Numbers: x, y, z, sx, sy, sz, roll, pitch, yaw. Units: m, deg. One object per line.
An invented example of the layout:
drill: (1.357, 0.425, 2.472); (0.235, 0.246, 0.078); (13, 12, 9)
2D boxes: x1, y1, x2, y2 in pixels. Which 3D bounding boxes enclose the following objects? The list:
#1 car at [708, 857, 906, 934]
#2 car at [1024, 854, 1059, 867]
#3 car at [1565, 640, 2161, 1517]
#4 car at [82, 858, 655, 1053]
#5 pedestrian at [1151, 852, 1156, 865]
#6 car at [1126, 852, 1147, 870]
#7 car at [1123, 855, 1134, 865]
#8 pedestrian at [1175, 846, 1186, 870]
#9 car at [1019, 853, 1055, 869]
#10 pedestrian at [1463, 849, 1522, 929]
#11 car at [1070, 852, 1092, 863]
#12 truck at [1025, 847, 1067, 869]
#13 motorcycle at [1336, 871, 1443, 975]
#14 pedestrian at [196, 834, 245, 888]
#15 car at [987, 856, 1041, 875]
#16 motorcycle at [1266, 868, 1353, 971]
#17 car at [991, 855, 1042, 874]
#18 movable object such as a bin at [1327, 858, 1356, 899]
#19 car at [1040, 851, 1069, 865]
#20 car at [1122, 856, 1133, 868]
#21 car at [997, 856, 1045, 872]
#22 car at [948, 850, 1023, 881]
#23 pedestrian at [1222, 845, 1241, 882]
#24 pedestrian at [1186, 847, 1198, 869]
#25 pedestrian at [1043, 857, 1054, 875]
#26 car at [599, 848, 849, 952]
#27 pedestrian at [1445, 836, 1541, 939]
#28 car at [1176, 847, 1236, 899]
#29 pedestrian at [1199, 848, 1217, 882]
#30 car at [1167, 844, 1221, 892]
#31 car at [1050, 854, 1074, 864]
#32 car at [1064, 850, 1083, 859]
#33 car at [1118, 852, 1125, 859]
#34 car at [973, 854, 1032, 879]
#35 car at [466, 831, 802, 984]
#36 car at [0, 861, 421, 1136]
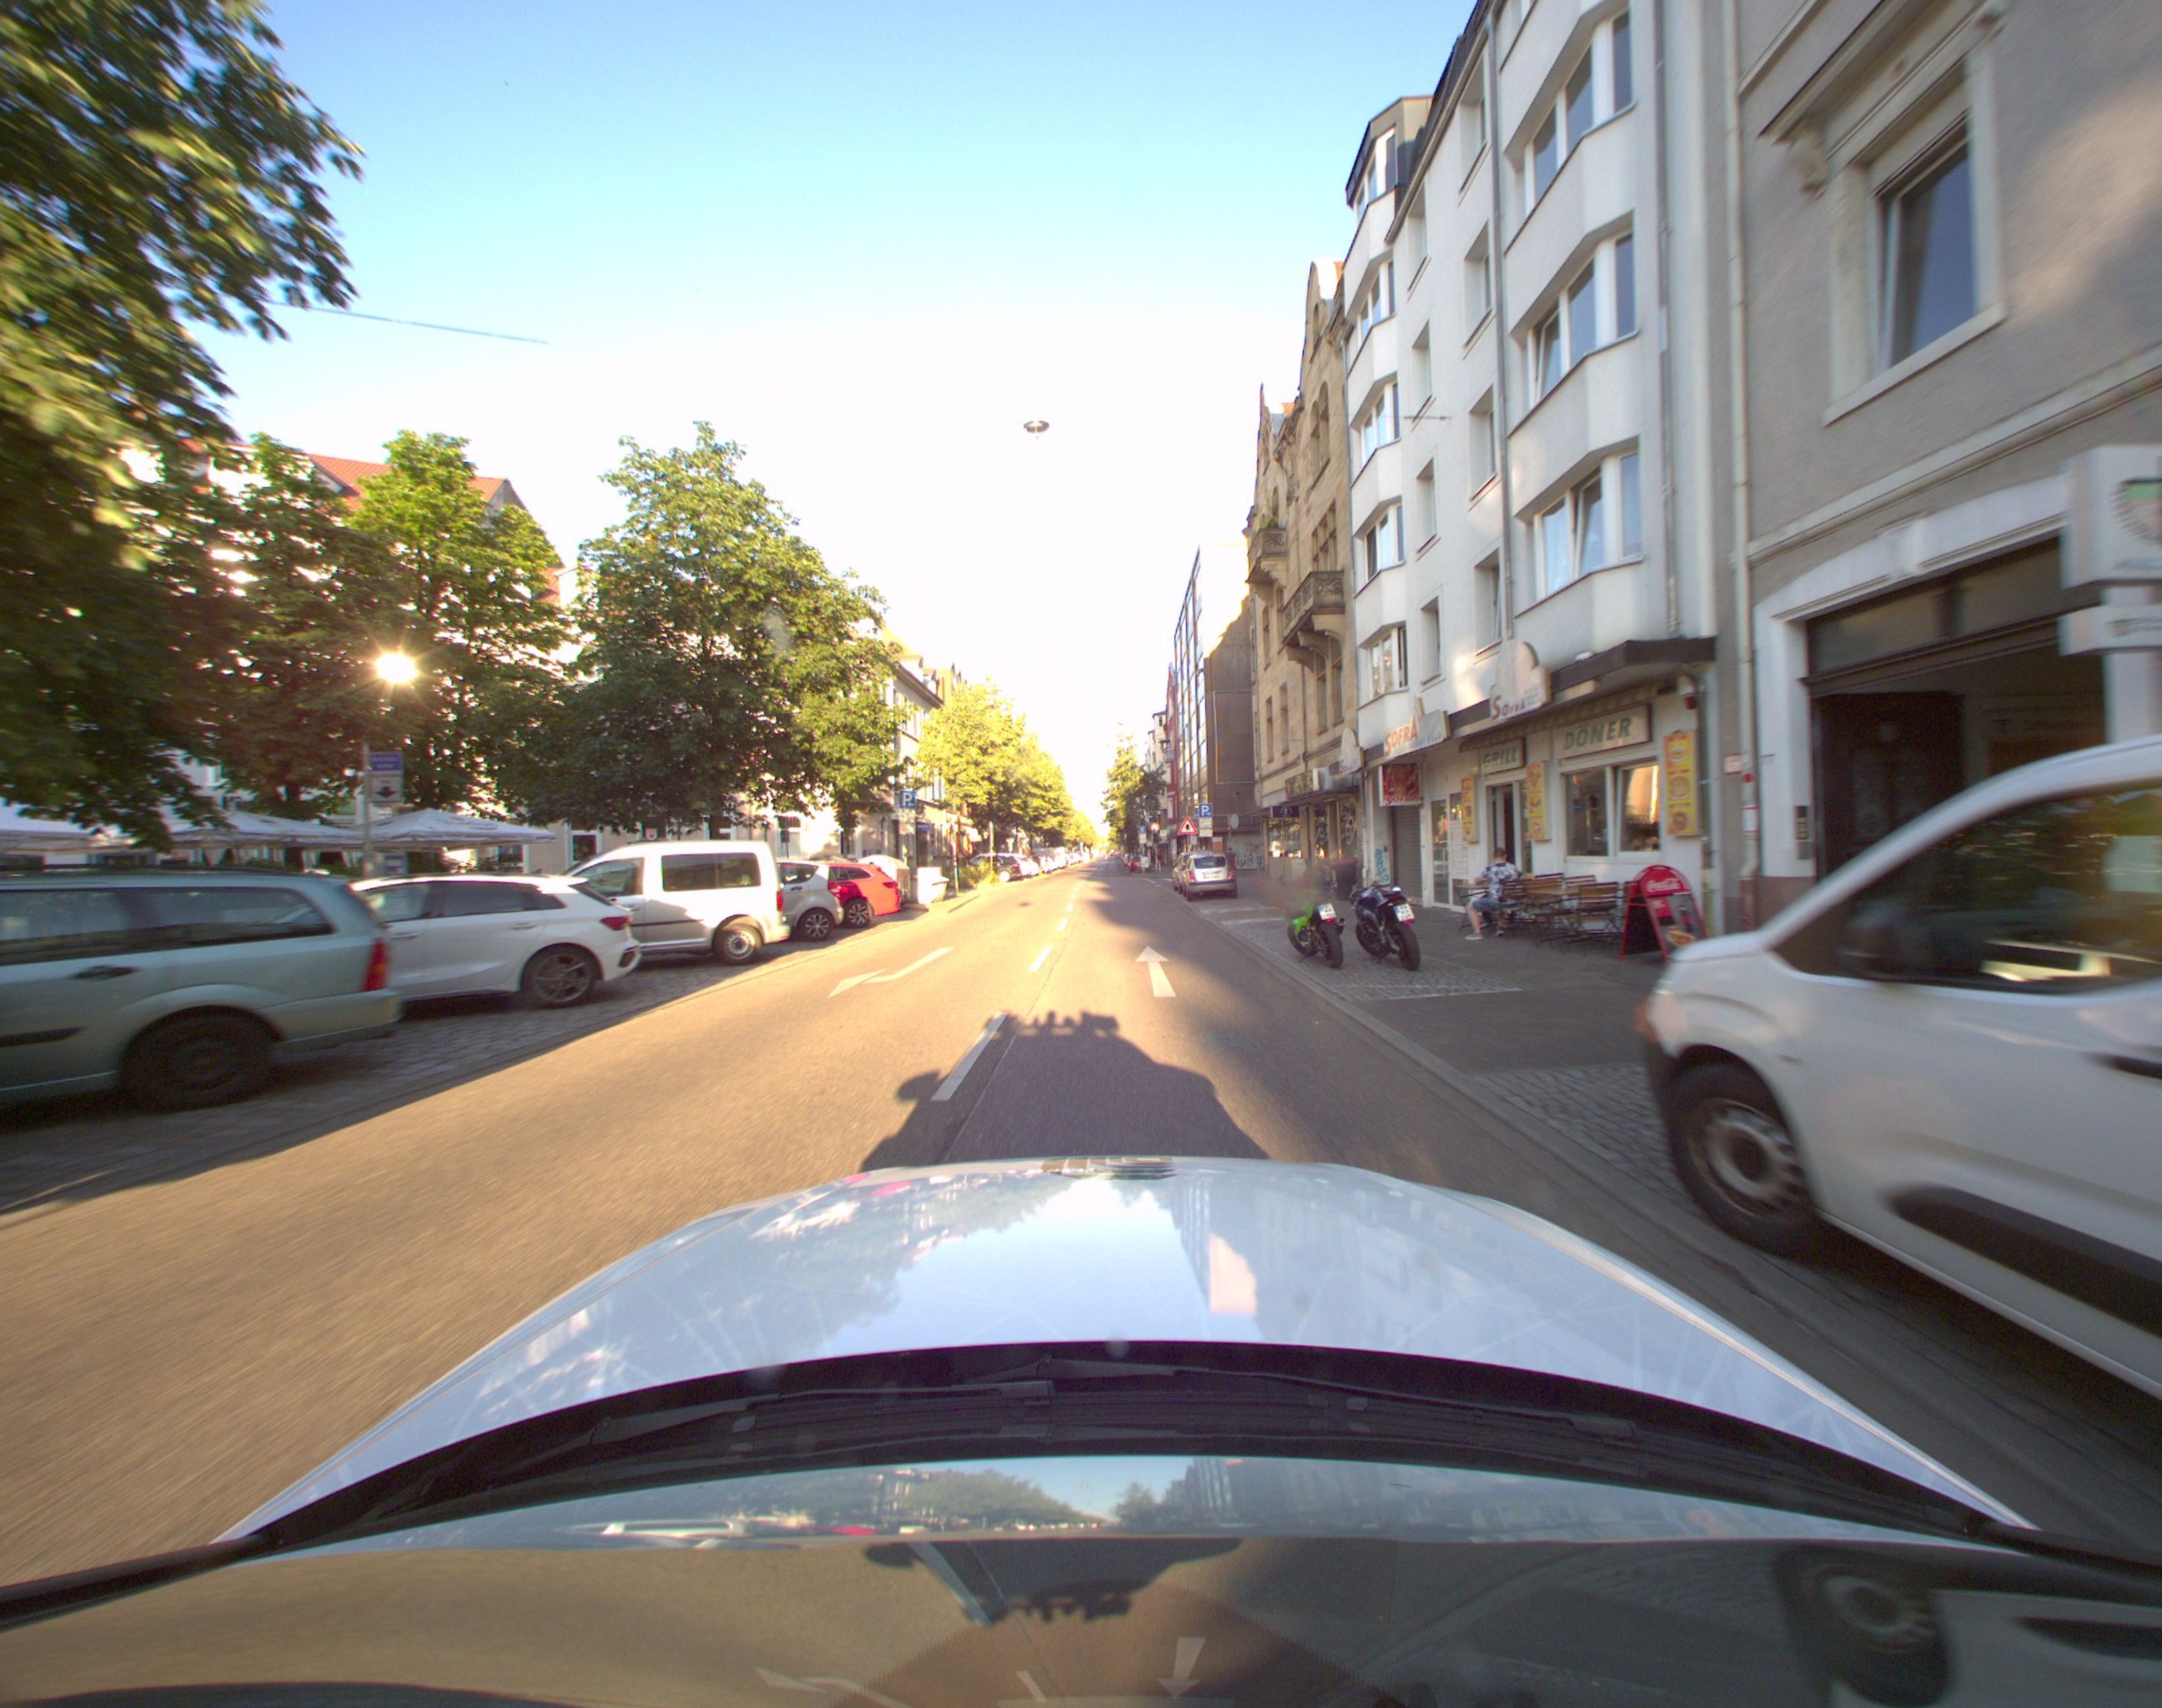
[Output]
car: (-6.251, 0.873, 18.583); (4.009, 1.486, 1.982); (-2, 0, -28)
car: (-4.402, 0.755, 91.469); (3.726, 1.449, 2.001); (0, 0, 1)
car: (3.114, 0.463, 1.810); (1.703, 1.835, 4.309); (-1, 0, 3)
car: (-6.726, 0.803, 8.301); (4.018, 1.492, 1.829); (0, 0, -36)
pedestrian: (9.003, 0.607, 101.065); (0.532, 1.622, 0.534); (-1, 0, 2)
car: (5.091, 0.615, 74.821); (1.572, 1.542, 3.395); (-3, -1, -1)
car: (6.218, 0.823, 106.903); (1.203, 1.300, 2.660); (-1, -1, -1)
pedestrian: (7.814, 0.312, 64.200); (0.712, 1.865, 0.679); (-2, 0, -1)
car: (-4.660, 0.745, 86.483); (3.726, 1.596, 2.001); (0, 0, 1)
pedestrian: (6.721, 0.571, 13.288); (0.734, 1.219, 0.796); (-3, 1, 32)
car: (0.010, 0.621, 137.883); (3.726, 1.708, 2.001); (-1, 0, 1)
truck: (-4.166, 0.492, 97.833); (4.923, 2.615, 2.000); (0, 0, 1)
motorcycle: (3.898, 0.821, 10.473); (0.586, 1.123, 2.211); (-1, 0, 2)
pedestrian: (-20.118, 0.167, 19.036); (0.530, 1.216, 0.528); (-3, 0, 9)
car: (-5.453, 0.892, 66.374); (4.160, 1.507, 2.001); (0, 0, 1)
motorcycle: (3.114, 0.842, 11.296); (0.586, 1.200, 2.211); (-3, 0, 2)
car: (-5.841, 0.975, 73.925); (4.410, 1.599, 2.001); (-1, 0, 1)
movable object such as a bin: (7.076, 0.671, 22.173); (0.593, 1.085, 0.664); (-1, 0, 3)
car: (-3.552, 0.574, 108.497); (3.726, 1.859, 2.001); (0, 0, 1)
car: (5.523, 0.960, 96.646); (1.203, 1.300, 2.660); (-1, -1, -1)
car: (-5.823, 0.958, 78.868); (4.410, 1.503, 2.001); (1, 0, 1)
car: (-6.001, 0.753, 51.437); (4.433, 1.835, 2.034); (-1, -2, 1)
pedestrian: (7.428, 0.456, 40.272); (0.752, 1.767, 1.222); (-1, 0, 1)
pedestrian: (8.760, 0.338, 64.144); (0.763, 1.689, 0.786); (-2, 0, -1)
pedestrian: (-3.020, 1.107, 75.639); (0.727, 1.683, 0.749); (0, 0, -38)
car: (-6.558, 0.758, 15.123); (4.016, 1.696, 1.731); (0, 0, -34)
pedestrian: (6.180, 0.482, 12.272); (0.952, 1.486, 0.993); (-1, 0, 1)
car: (4.235, 0.605, 28.068); (1.673, 1.561, 4.005); (-3, 0, 4)
pedestrian: (6.380, 0.535, 41.001); (0.752, 1.640, 1.259); (-1, 0, 1)
car: (4.477, 0.499, 32.776); (1.690, 1.769, 4.001); (-2, 0, 1)
car: (-3.082, 0.787, 130.657); (3.726, 1.493, 2.001); (0, 0, 1)
car: (-1.512, 0.163, 164.428); (3.726, 1.708, 2.001); (-1, 0, 1)
car: (8.786, 0.358, 177.778); (1.305, 1.600, 2.660); (-1, -1, -1)
car: (-5.583, 0.902, 58.405); (3.975, 1.708, 1.834); (-1, 0, 1)
car: (-6.365, 0.631, 11.864); (4.016, 1.878, 1.851); (-1, 0, -34)
car: (-6.701, 0.819, 5.044); (4.021, 1.468, 1.861); (-1, 0, -40)
